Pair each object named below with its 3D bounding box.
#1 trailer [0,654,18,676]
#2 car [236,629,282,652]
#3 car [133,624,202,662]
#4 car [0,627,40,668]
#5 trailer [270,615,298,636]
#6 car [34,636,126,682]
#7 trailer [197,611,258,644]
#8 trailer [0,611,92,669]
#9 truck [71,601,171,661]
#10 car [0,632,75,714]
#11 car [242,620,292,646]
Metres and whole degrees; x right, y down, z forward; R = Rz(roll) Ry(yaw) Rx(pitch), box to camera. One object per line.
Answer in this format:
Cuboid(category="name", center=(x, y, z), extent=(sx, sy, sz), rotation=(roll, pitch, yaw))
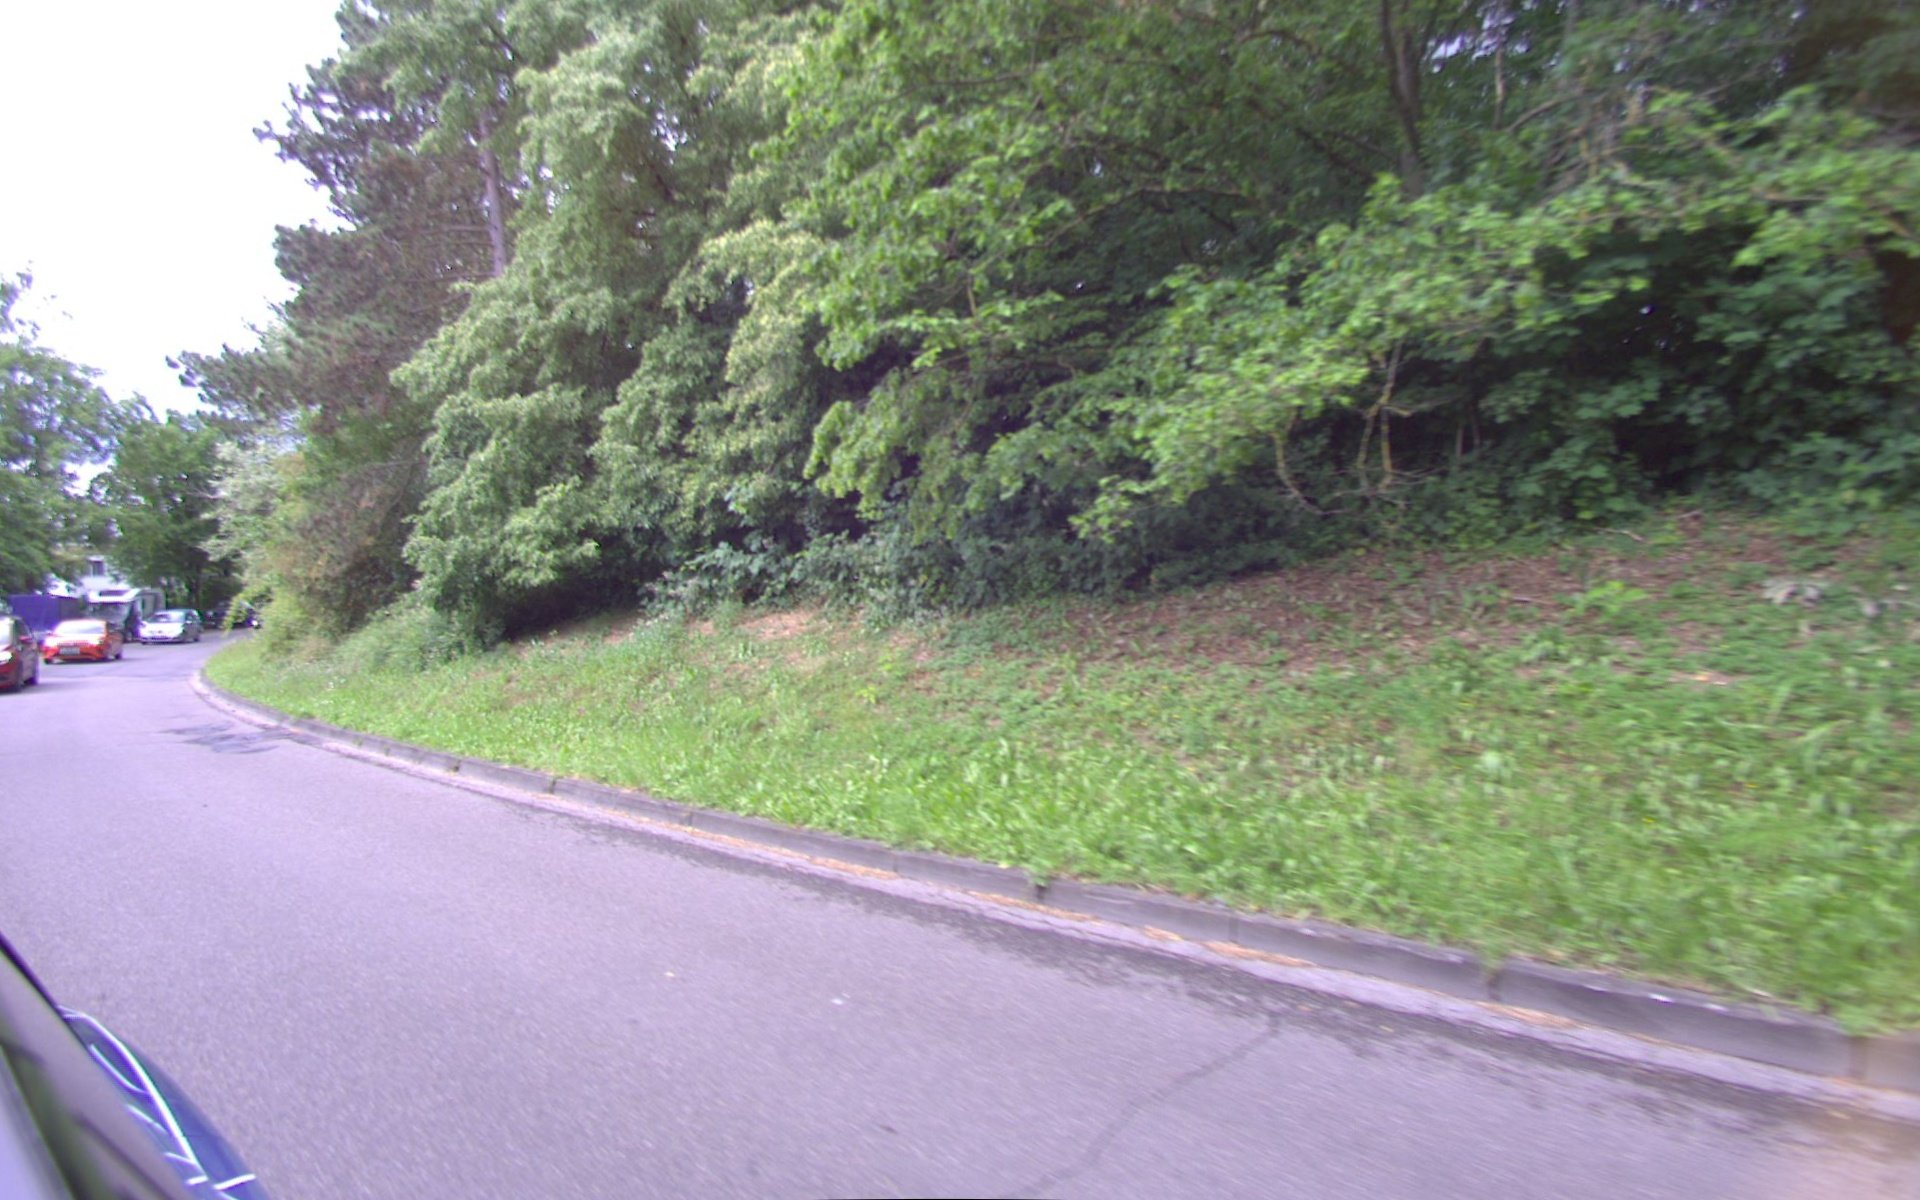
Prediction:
Cuboid(category="trailer", center=(-33.896, 2.335, 34.168), extent=(2.076, 0.656, 6.418), rotation=(-2, 1, -34))
Cuboid(category="car", center=(-53.564, 3.085, 77.440), extent=(1.815, 1.698, 4.615), rotation=(-1, -1, -21))
Cuboid(category="car", center=(-39.681, 2.103, 50.779), extent=(1.891, 1.694, 4.013), rotation=(0, 0, -25))
Cuboid(category="car", center=(-37.249, 1.857, 39.130), extent=(1.705, 1.534, 3.415), rotation=(-2, -1, -29))
Cuboid(category="trailer", center=(-56.042, 2.119, 83.926), extent=(1.354, 1.616, 2.274), rotation=(-2, 0, -21))
Cuboid(category="car", center=(-30.518, 2.005, 35.218), extent=(1.837, 1.460, 4.187), rotation=(0, -1, -33))
Cuboid(category="trailer", center=(-51.820, 1.896, 71.765), extent=(1.965, 1.947, 5.913), rotation=(-1, 2, -21))
Cuboid(category="trailer", center=(-39.413, 1.733, 43.505), extent=(2.077, 2.380, 4.716), rotation=(1, -3, -27))
Cuboid(category="truck", center=(-44.143, 1.570, 53.454), extent=(2.271, 2.955, 7.056), rotation=(0, -1, -25))
Cuboid(category="car", center=(-21.897, 1.624, 22.612), extent=(1.965, 1.640, 4.641), rotation=(-2, 0, -25))
Cuboid(category="car", center=(-47.606, 2.263, 69.616), extent=(1.739, 1.529, 4.013), rotation=(-2, 1, -18))
